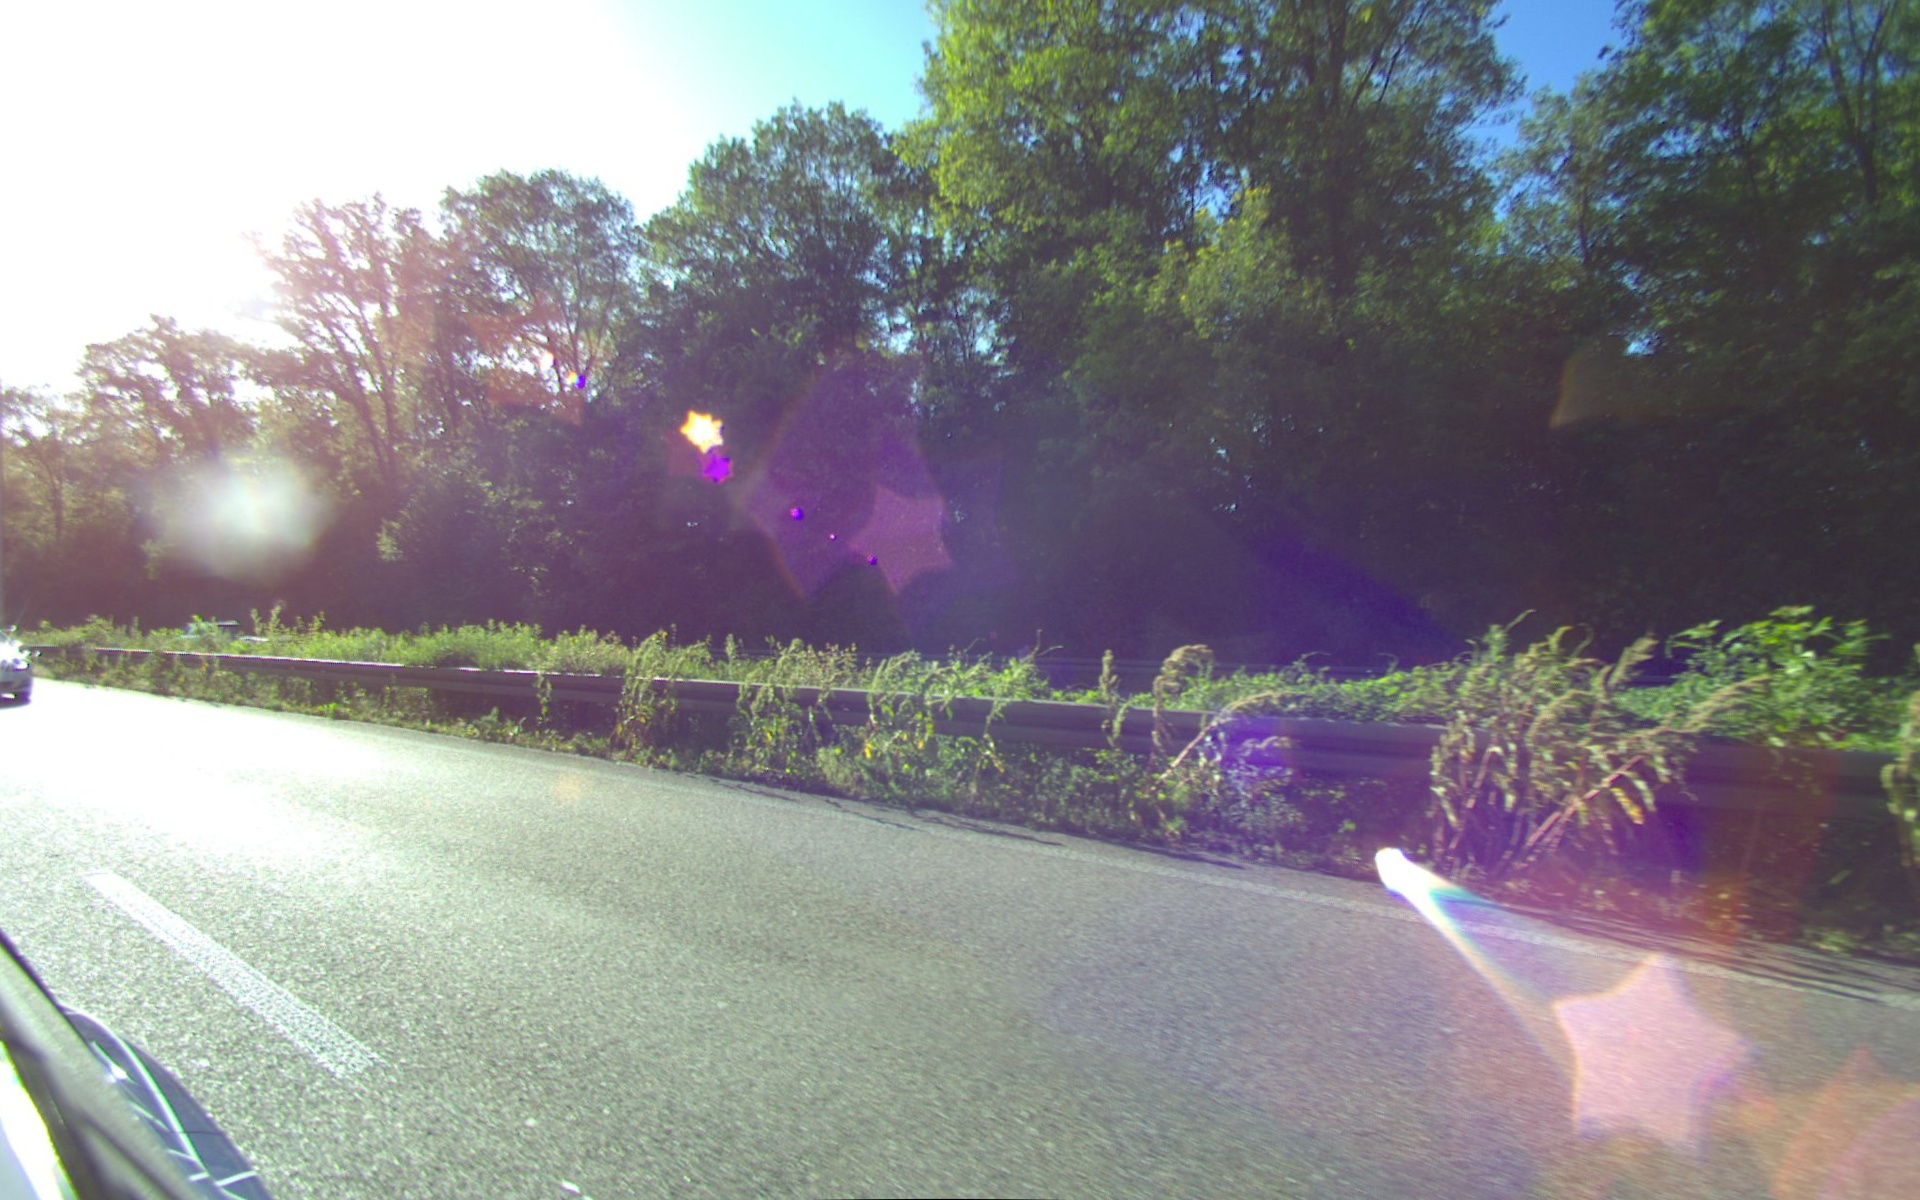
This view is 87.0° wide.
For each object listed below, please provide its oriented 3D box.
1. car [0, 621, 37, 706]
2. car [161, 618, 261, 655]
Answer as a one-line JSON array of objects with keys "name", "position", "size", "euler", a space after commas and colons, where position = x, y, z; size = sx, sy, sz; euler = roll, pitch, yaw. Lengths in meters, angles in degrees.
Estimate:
[{"name": "car", "position": [-19.683, 1.224, 19.585], "size": [5.593, 1.519, 1.910], "euler": [-2, -1, 39]}, {"name": "car", "position": [-33.017, 1.567, 44.551], "size": [5.226, 1.497, 1.977], "euler": [-1, 0, 35]}]
